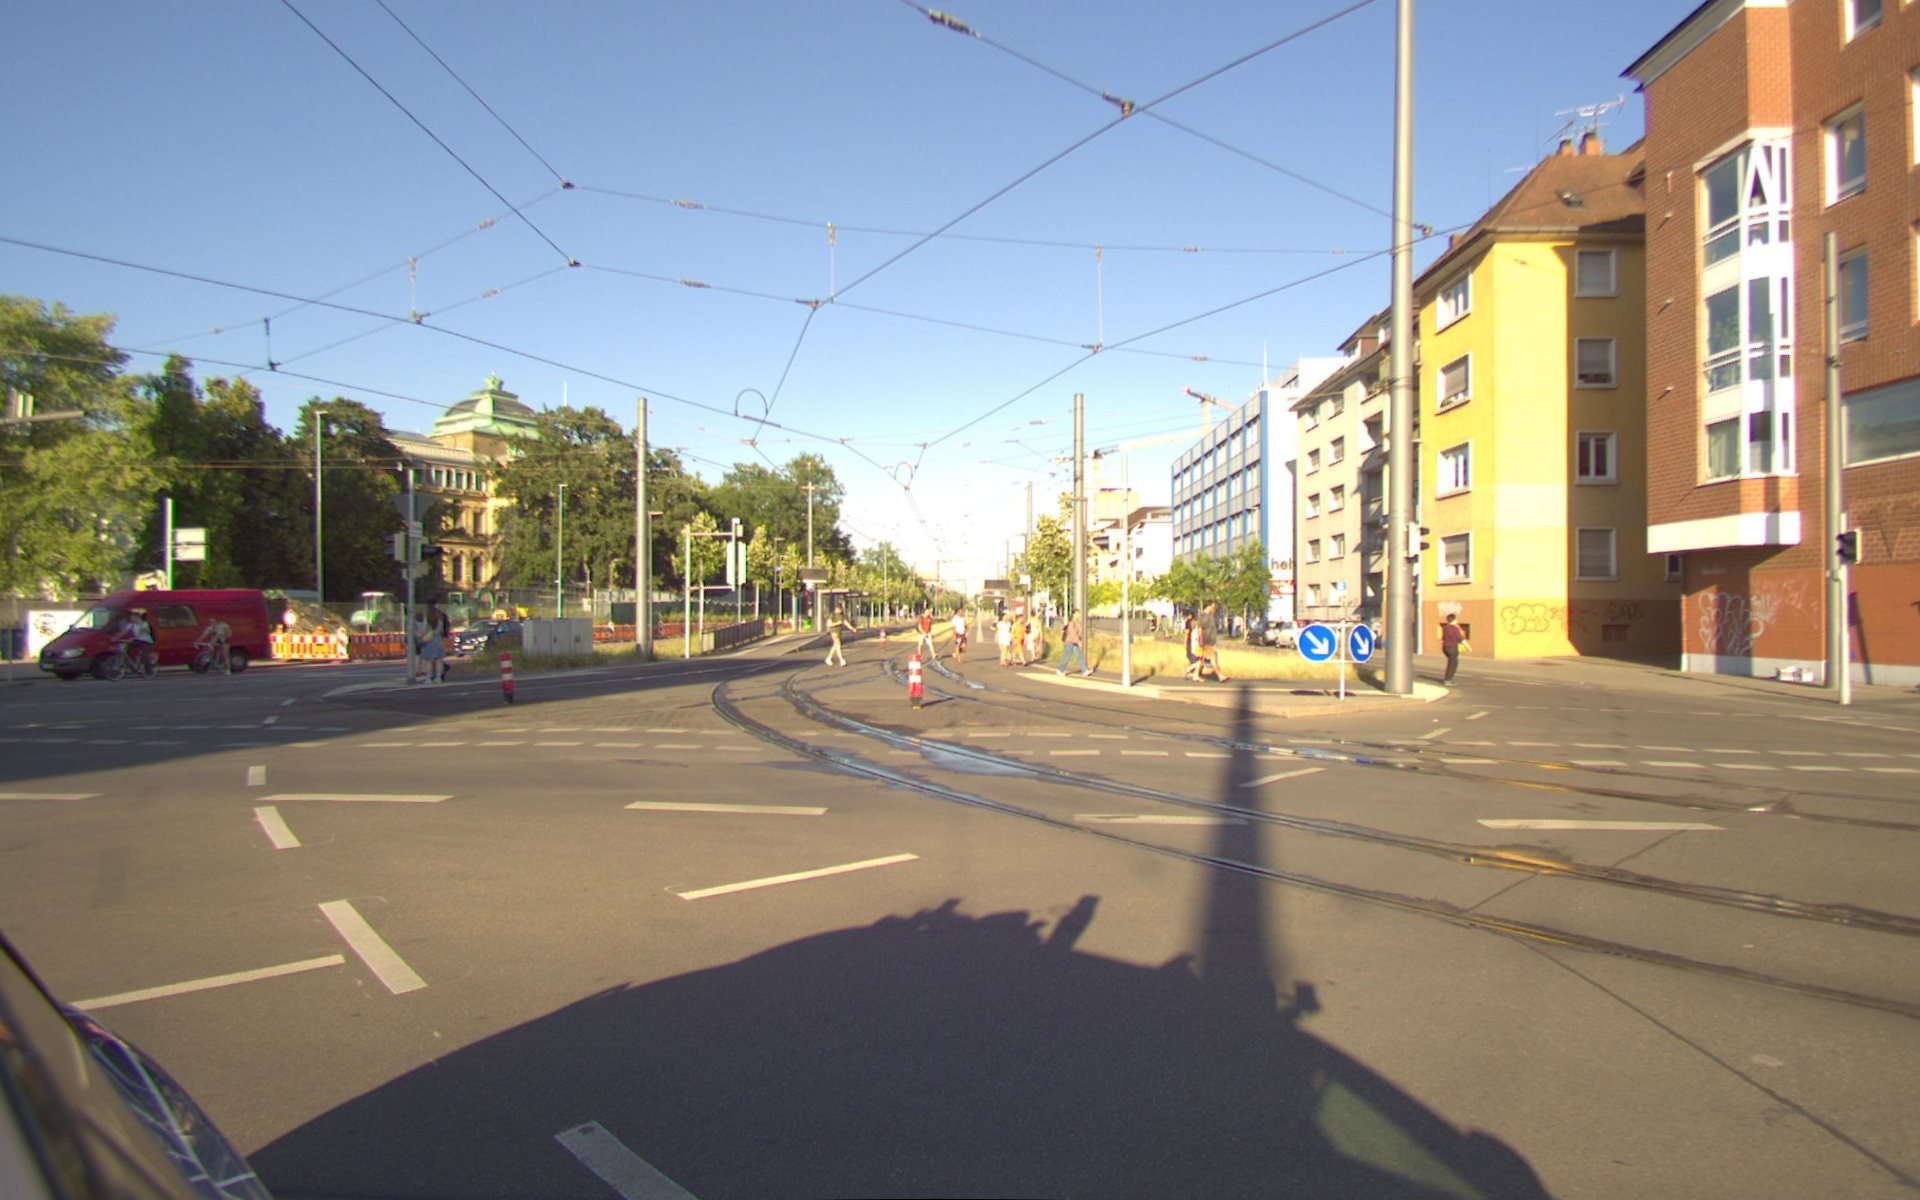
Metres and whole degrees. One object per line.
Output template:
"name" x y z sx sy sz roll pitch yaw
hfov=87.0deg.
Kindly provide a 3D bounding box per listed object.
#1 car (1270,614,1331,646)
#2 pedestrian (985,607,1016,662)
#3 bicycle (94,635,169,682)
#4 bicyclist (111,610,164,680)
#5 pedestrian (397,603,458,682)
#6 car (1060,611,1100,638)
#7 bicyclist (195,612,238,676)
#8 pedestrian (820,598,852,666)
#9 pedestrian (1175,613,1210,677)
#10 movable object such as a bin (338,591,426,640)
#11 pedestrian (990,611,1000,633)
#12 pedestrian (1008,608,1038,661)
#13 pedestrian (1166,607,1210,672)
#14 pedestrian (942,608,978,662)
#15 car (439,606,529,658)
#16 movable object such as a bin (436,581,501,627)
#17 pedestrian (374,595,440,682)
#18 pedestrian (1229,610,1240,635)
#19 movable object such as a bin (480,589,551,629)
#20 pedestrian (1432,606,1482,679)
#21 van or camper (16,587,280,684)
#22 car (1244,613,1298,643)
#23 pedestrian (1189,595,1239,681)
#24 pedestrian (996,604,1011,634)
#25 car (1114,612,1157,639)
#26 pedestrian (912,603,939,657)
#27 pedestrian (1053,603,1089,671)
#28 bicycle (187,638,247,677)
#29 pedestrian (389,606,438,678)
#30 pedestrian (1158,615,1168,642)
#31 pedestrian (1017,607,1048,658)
"car" 17.556 1.512 52.402 1.861 1.519 3.673 -2 0 0
"pedestrian" 1.127 0.955 28.064 0.627 1.467 0.526 -2 -1 -29
"bicycle" -21.376 1.484 26.161 0.535 1.109 1.810 -2 -1 -4
"bicyclist" -21.414 1.151 26.366 0.535 1.781 1.061 -2 -1 -4
"pedestrian" -11.493 0.912 21.853 0.786 1.653 0.889 -2 -1 35
"car" 7.220 1.470 61.202 1.861 1.519 3.942 -2 0 0
"bicyclist" -21.039 1.231 28.653 0.606 1.759 0.793 -2 -1 -4
"pedestrian" -3.536 0.905 28.910 0.778 1.878 0.619 -2 -1 4
"pedestrian" 5.122 0.983 22.297 0.605 1.370 0.591 -1 0 26
"movable object such as a bin" -34.070 0.870 59.840 1.975 2.704 5.006 -2 -1 5
"pedestrian" 2.758 1.765 80.054 0.651 1.705 0.772 -2 -1 -1
"pedestrian" 1.758 0.968 28.294 0.627 1.442 0.526 -2 -1 -28
"pedestrian" 5.809 0.990 25.770 0.828 1.596 0.685 -2 -1 -11
"pedestrian" -0.007 1.045 30.239 0.775 1.561 0.621 1 -6 -35
"car" -20.214 1.321 43.142 1.972 2.029 4.000 -2 -1 -1
"movable object such as a bin" -37.567 0.328 77.491 1.975 3.355 5.366 -2 -1 5
"pedestrian" -12.051 0.835 22.070 0.784 1.814 0.891 -2 1 29
"pedestrian" 20.303 1.664 74.781 0.638 1.759 0.597 -2 -1 7
"movable object such as a bin" -33.837 0.684 77.203 1.978 2.837 5.847 -2 -1 11
"pedestrian" 11.202 0.945 22.818 0.599 1.600 0.789 -1 -1 -44
"van or camper" -23.571 0.957 29.770 1.985 2.548 5.875 -2 -1 20
"car" 17.530 1.552 57.267 1.861 1.519 3.673 -2 0 0
"pedestrian" 5.420 0.798 21.547 0.894 1.771 0.771 -2 -1 22
"pedestrian" 2.449 1.062 57.367 0.778 1.685 0.619 -2 -1 4
"car" 10.574 1.537 61.316 1.861 1.519 3.942 -2 0 0
"pedestrian" -1.106 0.960 32.849 0.778 1.711 0.619 -2 -1 4
"pedestrian" 2.595 0.858 23.599 0.615 1.547 0.782 -2 -1 21
"bicycle" -21.065 1.618 28.716 0.535 1.008 1.695 -2 -1 -4
"pedestrian" -12.950 0.975 23.982 0.777 1.653 0.619 -2 -1 -1
"pedestrian" 15.747 2.206 78.509 0.546 2.029 0.496 -2 -1 1
"pedestrian" 2.330 1.040 32.354 0.680 1.596 0.834 -2 -1 28
